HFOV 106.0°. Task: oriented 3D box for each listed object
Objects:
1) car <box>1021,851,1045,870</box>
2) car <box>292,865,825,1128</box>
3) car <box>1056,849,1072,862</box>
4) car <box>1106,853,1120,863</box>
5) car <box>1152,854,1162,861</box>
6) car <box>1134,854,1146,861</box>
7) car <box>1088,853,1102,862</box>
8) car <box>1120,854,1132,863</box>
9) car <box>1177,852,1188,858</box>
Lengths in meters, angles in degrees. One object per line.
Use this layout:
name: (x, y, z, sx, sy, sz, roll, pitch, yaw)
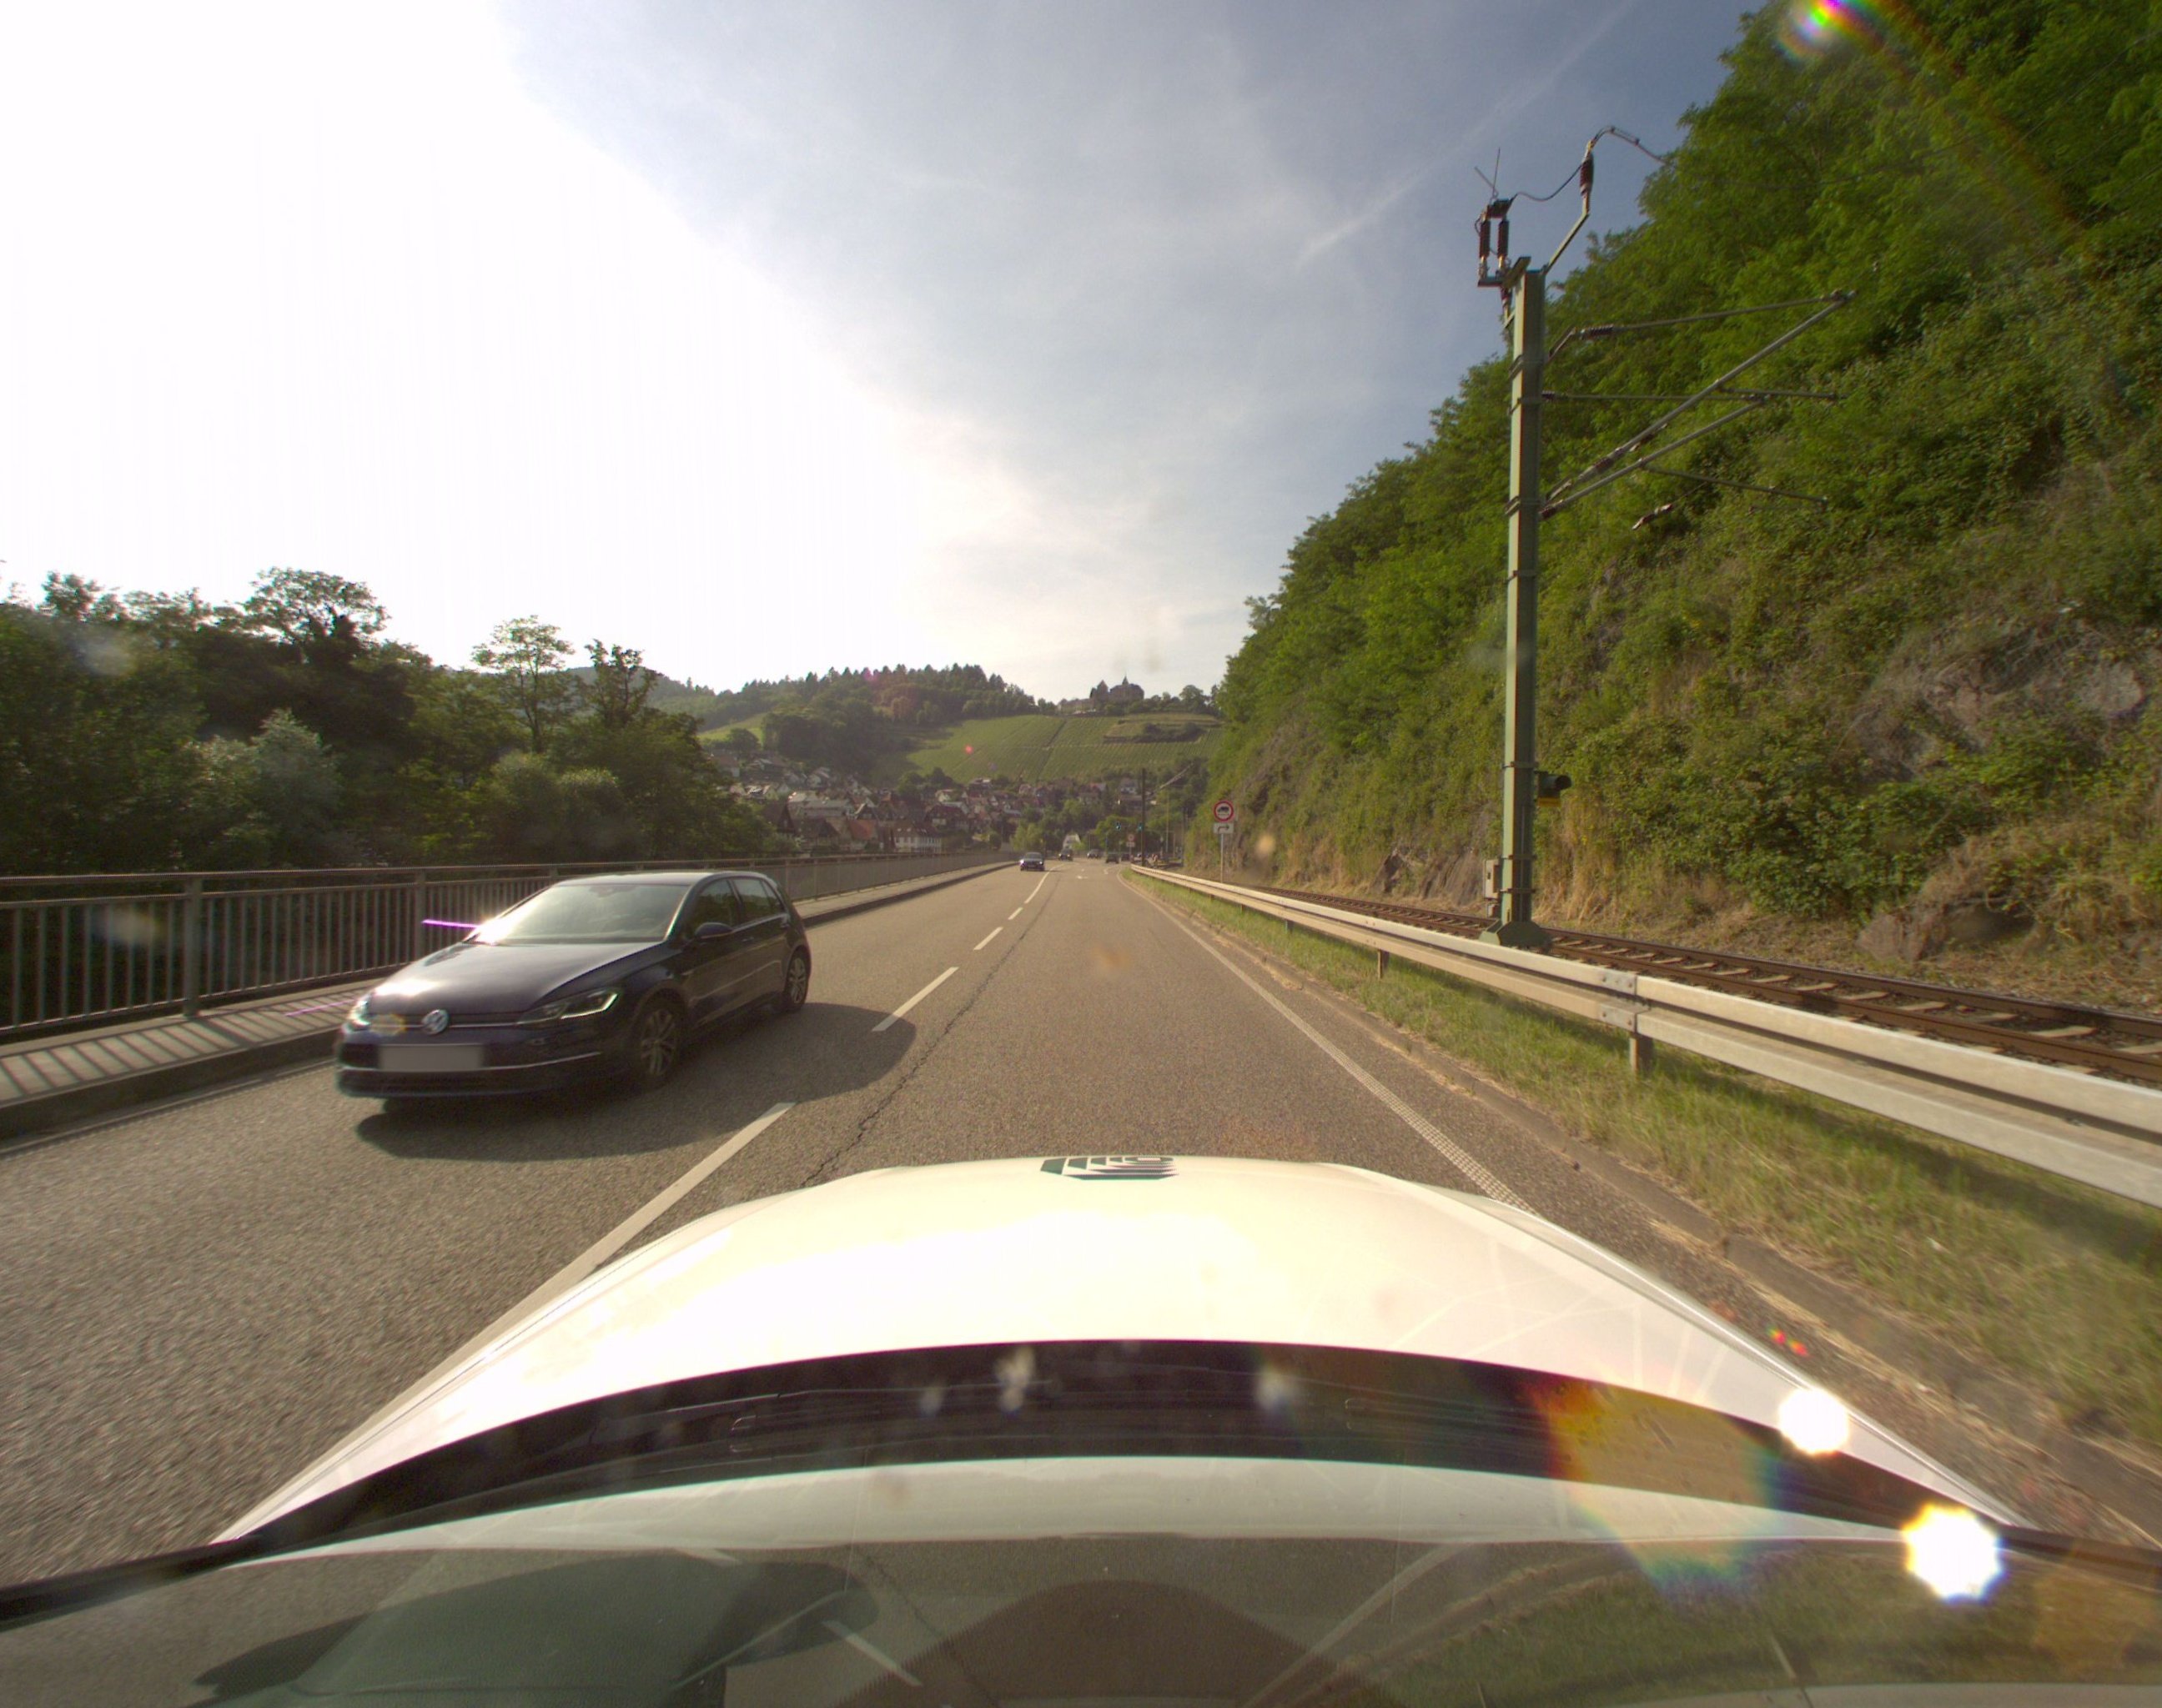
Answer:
car: (-3.751, 0.514, 63.909, 1.716, 1.435, 4.337, 0, 0, -1)
car: (-3.591, 0.832, 6.641, 1.697, 1.431, 4.074, -1, 0, 0)
car: (-2.490, 0.211, 119.091, 1.783, 1.828, 4.836, 1, 0, 6)
car: (4.601, 0.638, 118.269, 1.719, 1.457, 3.417, 0, -1, 7)
car: (15.675, 0.727, 167.200, 1.795, 1.453, 3.657, 0, -1, 10)
car: (13.501, 0.835, 185.525, 1.769, 1.482, 4.544, 2, 0, 15)
car: (2.536, 0.653, 146.365, 1.806, 1.646, 4.623, 1, 0, 8)
car: (7.599, 0.755, 138.240, 1.831, 1.459, 3.718, 0, -1, 5)
car: (23.490, 0.177, 188.581, 1.793, 1.408, 3.791, 0, -1, 19)
